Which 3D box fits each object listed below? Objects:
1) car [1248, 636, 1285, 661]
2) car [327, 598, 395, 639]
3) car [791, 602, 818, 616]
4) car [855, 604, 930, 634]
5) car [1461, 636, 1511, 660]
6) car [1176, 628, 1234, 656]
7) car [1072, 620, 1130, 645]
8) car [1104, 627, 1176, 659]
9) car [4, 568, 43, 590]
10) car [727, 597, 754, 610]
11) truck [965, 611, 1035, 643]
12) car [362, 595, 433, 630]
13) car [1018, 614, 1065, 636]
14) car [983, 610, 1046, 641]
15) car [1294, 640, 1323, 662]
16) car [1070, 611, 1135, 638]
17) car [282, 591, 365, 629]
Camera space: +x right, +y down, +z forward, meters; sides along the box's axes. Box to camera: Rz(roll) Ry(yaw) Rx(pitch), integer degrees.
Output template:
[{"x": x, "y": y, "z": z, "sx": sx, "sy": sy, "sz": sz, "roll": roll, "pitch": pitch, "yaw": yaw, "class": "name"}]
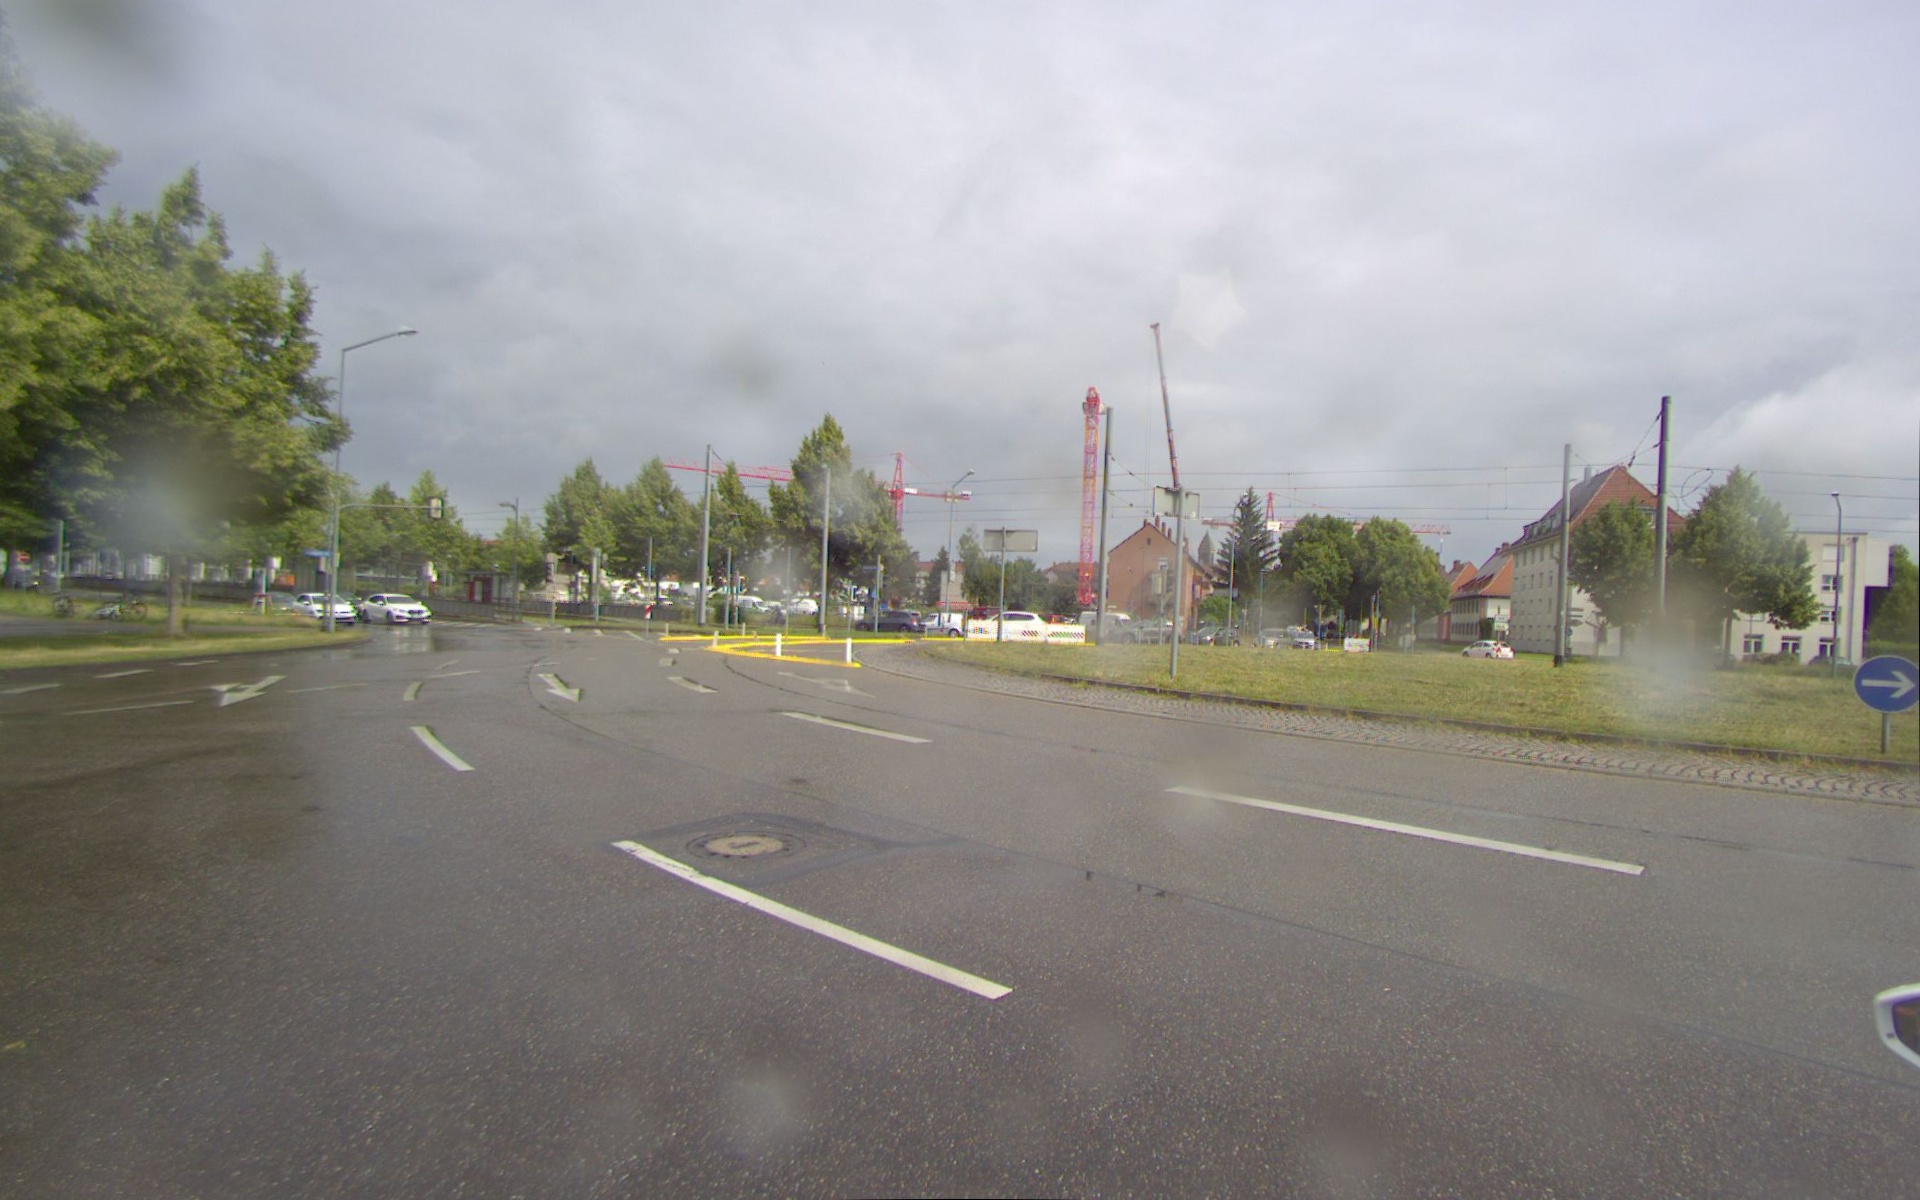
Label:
[{"x": 20.877, "y": 3.300, "z": 68.301, "sx": 1.523, "sy": 1.581, "sz": 3.492, "roll": 3, "pitch": -1, "yaw": 32, "class": "car"}, {"x": -32.653, "y": 0.978, "z": 54.711, "sx": 3.941, "sy": 2.040, "sz": 1.990, "roll": 2, "pitch": 0, "yaw": 41, "class": "car"}, {"x": -21.259, "y": 1.186, "z": 137.000, "sx": 3.540, "sy": 1.745, "sz": 1.495, "roll": 2, "pitch": -1, "yaw": 35, "class": "car"}, {"x": -3.859, "y": 1.117, "z": 58.004, "sx": 3.919, "sy": 1.537, "sz": 1.804, "roll": 2, "pitch": 0, "yaw": 12, "class": "car"}, {"x": 37.501, "y": 3.398, "z": 71.706, "sx": 1.521, "sy": 1.473, "sz": 3.497, "roll": 2, "pitch": 0, "yaw": -5, "class": "car"}, {"x": 15.574, "y": 2.662, "z": 63.769, "sx": 1.773, "sy": 1.606, "sz": 3.976, "roll": 3, "pitch": 0, "yaw": 44, "class": "car"}, {"x": 10.811, "y": 2.518, "z": 77.154, "sx": 3.940, "sy": 1.706, "sz": 1.991, "roll": 3, "pitch": 0, "yaw": -20, "class": "car"}, {"x": 10.152, "y": 2.425, "z": 56.698, "sx": 3.611, "sy": 1.581, "sz": 1.571, "roll": 3, "pitch": 0, "yaw": -9, "class": "car"}, {"x": -79.797, "y": -1.743, "z": 85.586, "sx": 4.023, "sy": 1.767, "sz": 1.859, "roll": 0, "pitch": -2, "yaw": 39, "class": "car"}, {"x": -29.128, "y": 0.516, "z": 133.141, "sx": 3.444, "sy": 1.581, "sz": 1.544, "roll": 2, "pitch": 0, "yaw": 38, "class": "car"}, {"x": 3.453, "y": 2.331, "z": 87.767, "sx": 2.382, "sy": 2.241, "sz": 6.020, "roll": 4, "pitch": 1, "yaw": -44, "class": "truck"}, {"x": -27.613, "y": 0.608, "z": 49.271, "sx": 3.844, "sy": 1.528, "sz": 1.720, "roll": 2, "pitch": -1, "yaw": 39, "class": "car"}, {"x": 7.536, "y": 2.291, "z": 92.916, "sx": 3.941, "sy": 1.722, "sz": 1.920, "roll": 5, "pitch": 1, "yaw": 41, "class": "car"}, {"x": 3.095, "y": 1.439, "z": 56.598, "sx": 3.429, "sy": 1.530, "sz": 1.501, "roll": 3, "pitch": 0, "yaw": 7, "class": "car"}, {"x": 28.261, "y": 4.131, "z": 81.408, "sx": 1.571, "sy": 1.581, "sz": 3.544, "roll": 3, "pitch": 0, "yaw": 29, "class": "car"}, {"x": 13.654, "y": 2.340, "z": 96.684, "sx": 2.028, "sy": 2.112, "sz": 6.188, "roll": 4, "pitch": 1, "yaw": -42, "class": "car"}, {"x": -29.791, "y": 0.459, "z": 46.955, "sx": 4.399, "sy": 1.694, "sz": 1.860, "roll": 0, "pitch": -2, "yaw": 37, "class": "car"}]
